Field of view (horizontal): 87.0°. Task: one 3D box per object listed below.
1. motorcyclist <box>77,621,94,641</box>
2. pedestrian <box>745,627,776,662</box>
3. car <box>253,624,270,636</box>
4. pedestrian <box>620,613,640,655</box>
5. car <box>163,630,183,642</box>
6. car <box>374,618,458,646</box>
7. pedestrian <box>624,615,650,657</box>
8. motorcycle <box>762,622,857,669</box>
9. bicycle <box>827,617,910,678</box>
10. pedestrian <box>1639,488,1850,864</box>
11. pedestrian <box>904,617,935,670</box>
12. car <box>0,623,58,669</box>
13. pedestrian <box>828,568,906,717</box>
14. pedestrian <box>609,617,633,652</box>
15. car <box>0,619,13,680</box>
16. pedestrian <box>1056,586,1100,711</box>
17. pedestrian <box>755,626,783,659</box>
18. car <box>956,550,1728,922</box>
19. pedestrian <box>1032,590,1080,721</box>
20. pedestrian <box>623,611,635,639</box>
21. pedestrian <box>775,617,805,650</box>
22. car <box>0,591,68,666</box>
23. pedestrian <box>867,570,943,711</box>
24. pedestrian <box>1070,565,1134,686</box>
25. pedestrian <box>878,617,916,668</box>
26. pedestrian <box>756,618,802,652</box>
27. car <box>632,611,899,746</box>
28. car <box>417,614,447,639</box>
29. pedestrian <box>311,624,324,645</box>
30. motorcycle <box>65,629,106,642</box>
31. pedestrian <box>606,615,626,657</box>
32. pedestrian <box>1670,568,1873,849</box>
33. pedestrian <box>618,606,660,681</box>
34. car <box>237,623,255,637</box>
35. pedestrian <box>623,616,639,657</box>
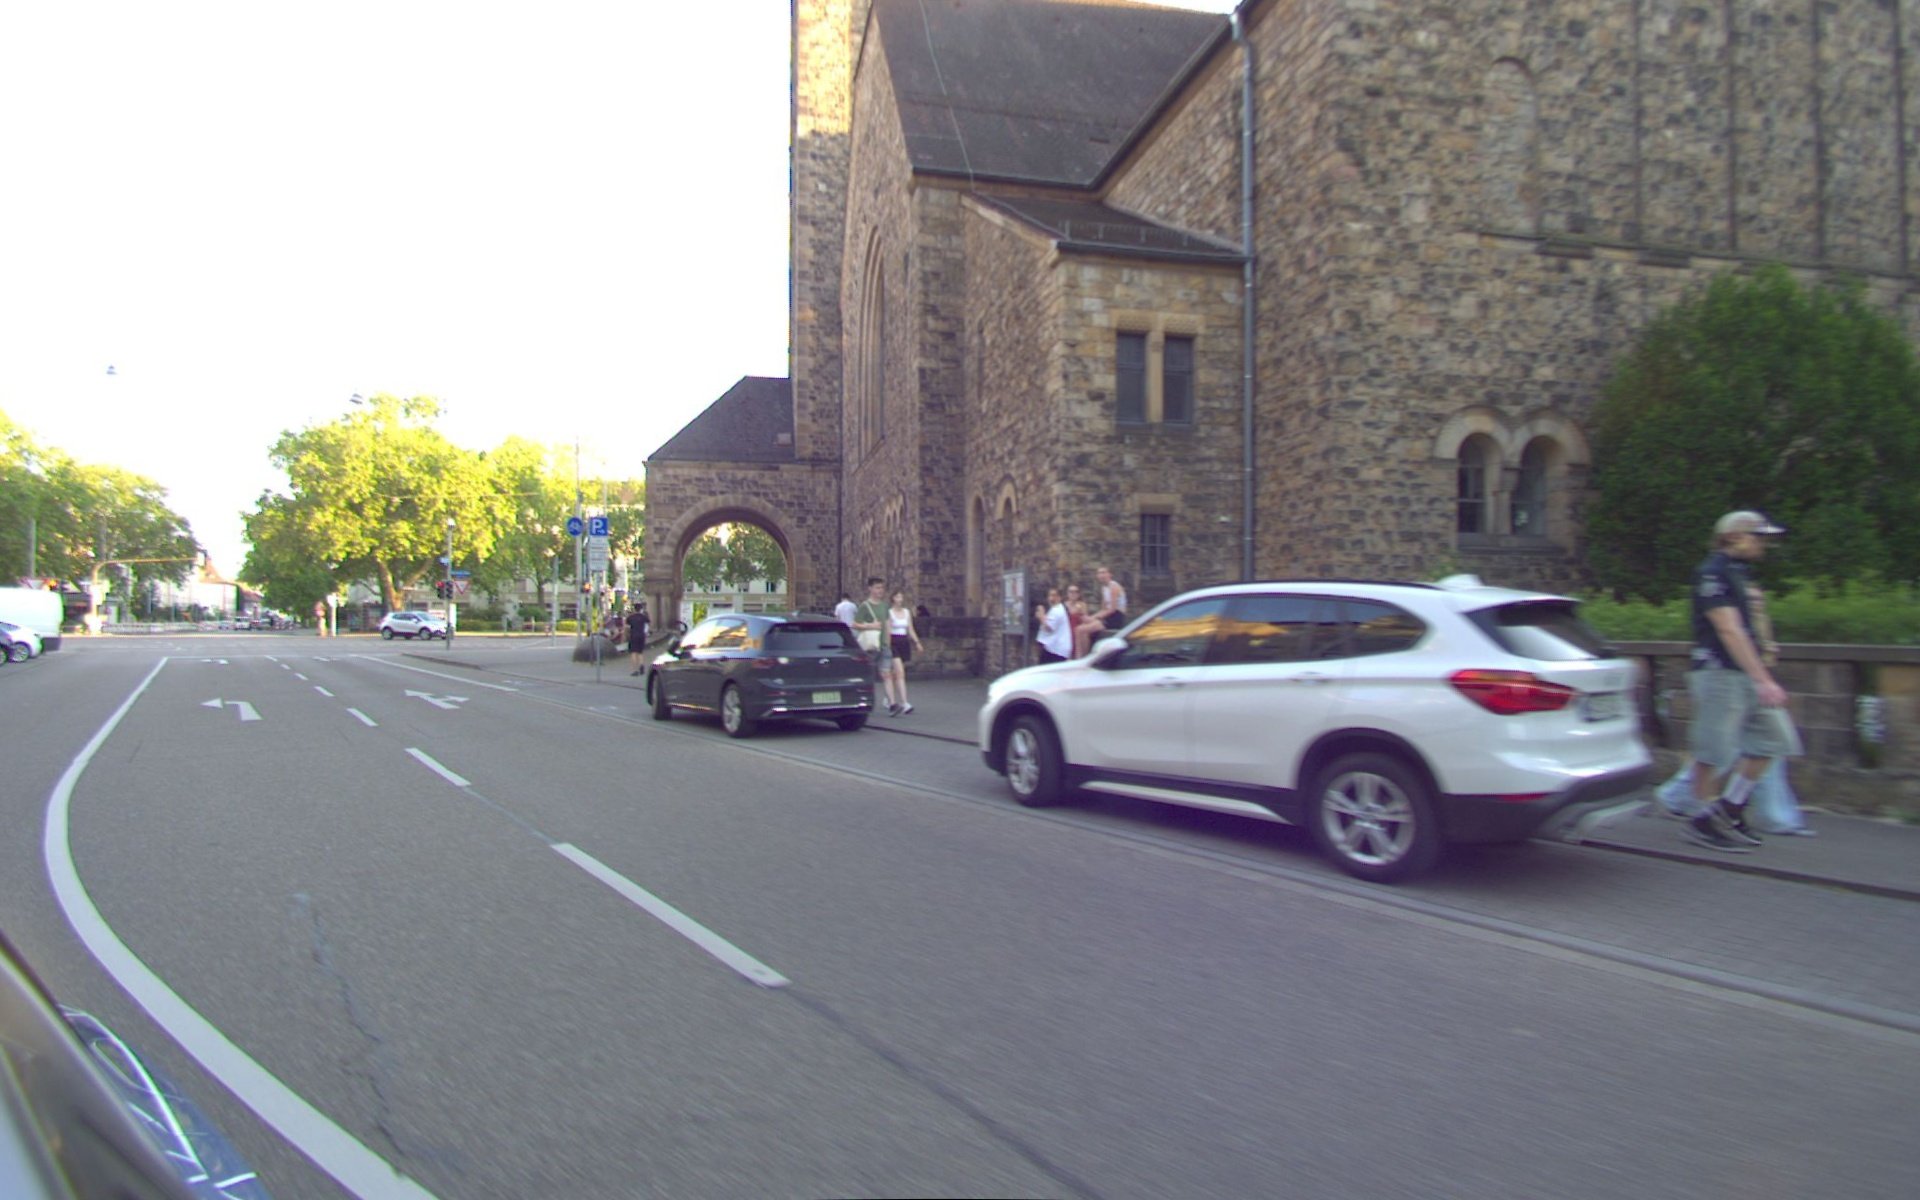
[{"bbox_3d":[-66.253,2.340,76.657,0.620,1.531,0.821,-1,-2,28],"label":"motorcyclist"},{"bbox_3d":[-5.888,1.307,29.885,0.691,0.999,0.558,-1,-2,20],"label":"pedestrian"},{"bbox_3d":[-98.212,4.185,142.375,1.798,1.586,4.011,0,-1,-33],"label":"car"},{"bbox_3d":[-11.284,1.171,34.576,0.540,1.417,0.458,0,-1,-2],"label":"pedestrian"},{"bbox_3d":[-109.219,5.001,140.475,1.765,1.592,4.011,1,-2,-34],"label":"car"},{"bbox_3d":[-31.230,1.849,58.175,3.954,1.570,1.837,0,-2,9],"label":"car"},{"bbox_3d":[-10.931,1.223,34.252,0.694,1.417,0.632,0,-1,-2],"label":"pedestrian"},{"bbox_3d":[-4.055,1.199,27.323,2.382,1.134,0.824,-2,-1,-33],"label":"motorcycle"},{"bbox_3d":[-1.928,1.003,21.483,1.703,1.258,0.438,1,-2,-23],"label":"bicycle"},{"bbox_3d":[4.390,0.397,5.680,0.575,1.920,0.804,1,-2,-40],"label":"pedestrian"},{"bbox_3d":[-0.826,0.876,20.560,0.490,1.056,0.609,0,-1,-17],"label":"pedestrian"},{"bbox_3d":[-31.968,1.452,32.380,1.981,1.464,4.234,1,-2,14],"label":"car"},{"bbox_3d":[-1.245,0.554,13.472,0.638,1.893,0.893,1,-2,-40],"label":"pedestrian"},{"bbox_3d":[-13.725,1.385,40.981,0.791,1.385,0.700,0,-2,-3],"label":"pedestrian"},{"bbox_3d":[-26.505,1.186,25.070,1.800,1.620,4.078,1,-3,15],"label":"car"},{"bbox_3d":[1.632,0.655,13.927,0.543,1.687,0.413,-1,-1,14],"label":"pedestrian"},{"bbox_3d":[-5.745,1.280,30.474,0.645,0.975,0.558,-1,-2,20],"label":"pedestrian"},{"bbox_3d":[2.079,0.638,6.712,1.847,1.604,4.477,1,-2,-38],"label":"car"},{"bbox_3d":[1.224,0.695,12.913,0.543,1.634,0.413,-1,-1,14],"label":"pedestrian"},{"bbox_3d":[-22.276,1.679,68.114,0.699,1.861,1.163,0,-2,-17],"label":"pedestrian"},{"bbox_3d":[-5.724,1.126,34.085,0.822,1.084,0.645,0,-1,14],"label":"pedestrian"},{"bbox_3d":[-34.162,0.898,34.156,2.174,2.571,5.862,2,-2,12],"label":"car"},{"bbox_3d":[-0.770,0.545,13.980,0.565,1.870,0.990,1,-2,-40],"label":"pedestrian"},{"bbox_3d":[1.862,0.330,13.347,0.641,1.557,0.587,0,-1,-13],"label":"pedestrian"},{"bbox_3d":[-1.313,0.876,21.105,0.517,1.056,0.733,-1,-1,23],"label":"pedestrian"},{"bbox_3d":[-5.975,1.159,33.431,1.320,1.102,0.682,0,-1,14],"label":"pedestrian"},{"bbox_3d":[-2.678,0.888,13.094,1.759,1.446,4.326,1,-2,-35],"label":"car"},{"bbox_3d":[-44.399,2.230,85.164,1.836,2.029,3.823,1,-2,-22],"label":"car"},{"bbox_3d":[-51.755,2.789,81.547,0.734,1.641,0.662,0,-2,-20],"label":"pedestrian"},{"bbox_3d":[-66.256,2.694,76.668,0.620,0.929,2.264,-1,-2,27],"label":"motorcycle"},{"bbox_3d":[-12.077,1.253,35.554,0.542,1.464,0.558,0,-1,-2],"label":"pedestrian"},{"bbox_3d":[4.917,0.612,6.151,0.575,1.563,0.841,0,-1,-40],"label":"pedestrian"},{"bbox_3d":[-7.611,1.016,23.979,0.692,1.738,0.706,-1,-2,43],"label":"pedestrian"},{"bbox_3d":[-101.398,4.275,143.741,1.960,1.971,4.608,1,-2,-34],"label":"car"},{"bbox_3d":[-11.585,1.273,35.614,0.396,1.417,0.548,0,-1,-2],"label":"pedestrian"}]
